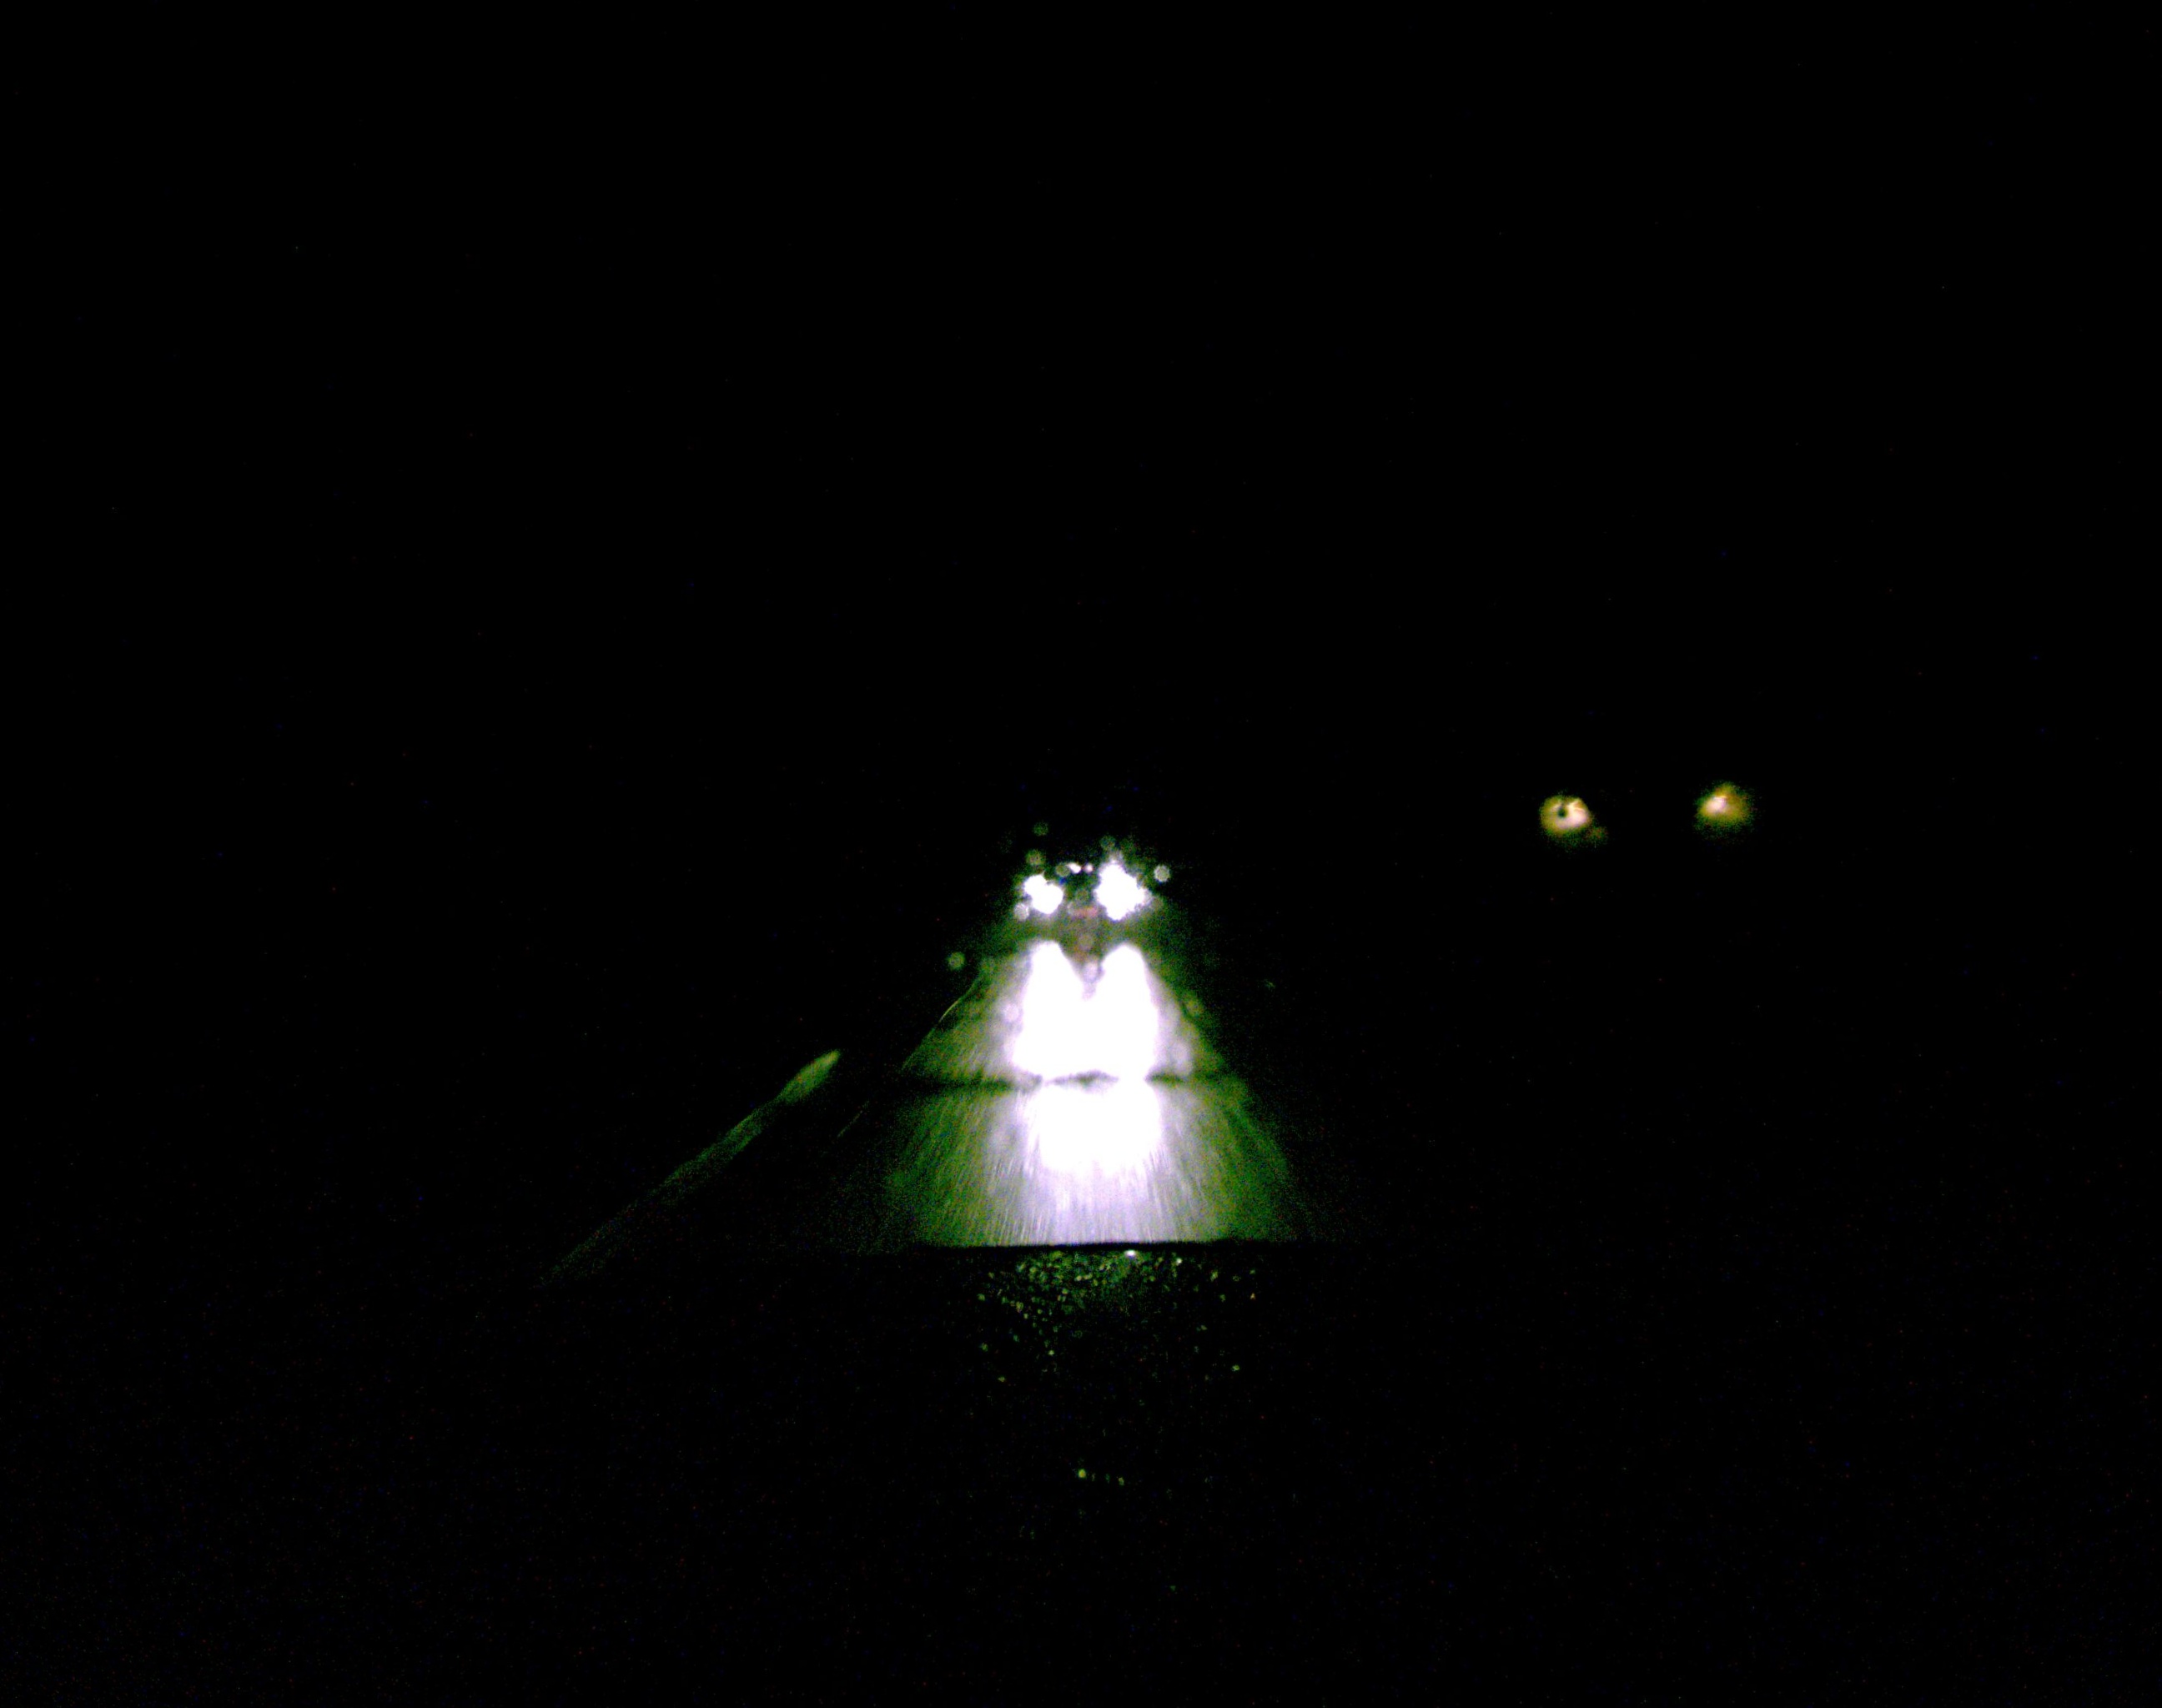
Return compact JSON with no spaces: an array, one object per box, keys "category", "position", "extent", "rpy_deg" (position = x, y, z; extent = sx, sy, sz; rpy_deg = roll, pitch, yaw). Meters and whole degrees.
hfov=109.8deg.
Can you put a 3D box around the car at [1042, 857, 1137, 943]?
[{"category":"car","position":[0.146,0.917,17.353],"extent":[1.810,1.590,4.785],"rpy_deg":[-2,0,-1]}]

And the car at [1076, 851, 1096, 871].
[{"category":"car","position":[0.505,0.701,78.497],"extent":[1.759,1.807,4.710],"rpy_deg":[-3,1,3]}]
